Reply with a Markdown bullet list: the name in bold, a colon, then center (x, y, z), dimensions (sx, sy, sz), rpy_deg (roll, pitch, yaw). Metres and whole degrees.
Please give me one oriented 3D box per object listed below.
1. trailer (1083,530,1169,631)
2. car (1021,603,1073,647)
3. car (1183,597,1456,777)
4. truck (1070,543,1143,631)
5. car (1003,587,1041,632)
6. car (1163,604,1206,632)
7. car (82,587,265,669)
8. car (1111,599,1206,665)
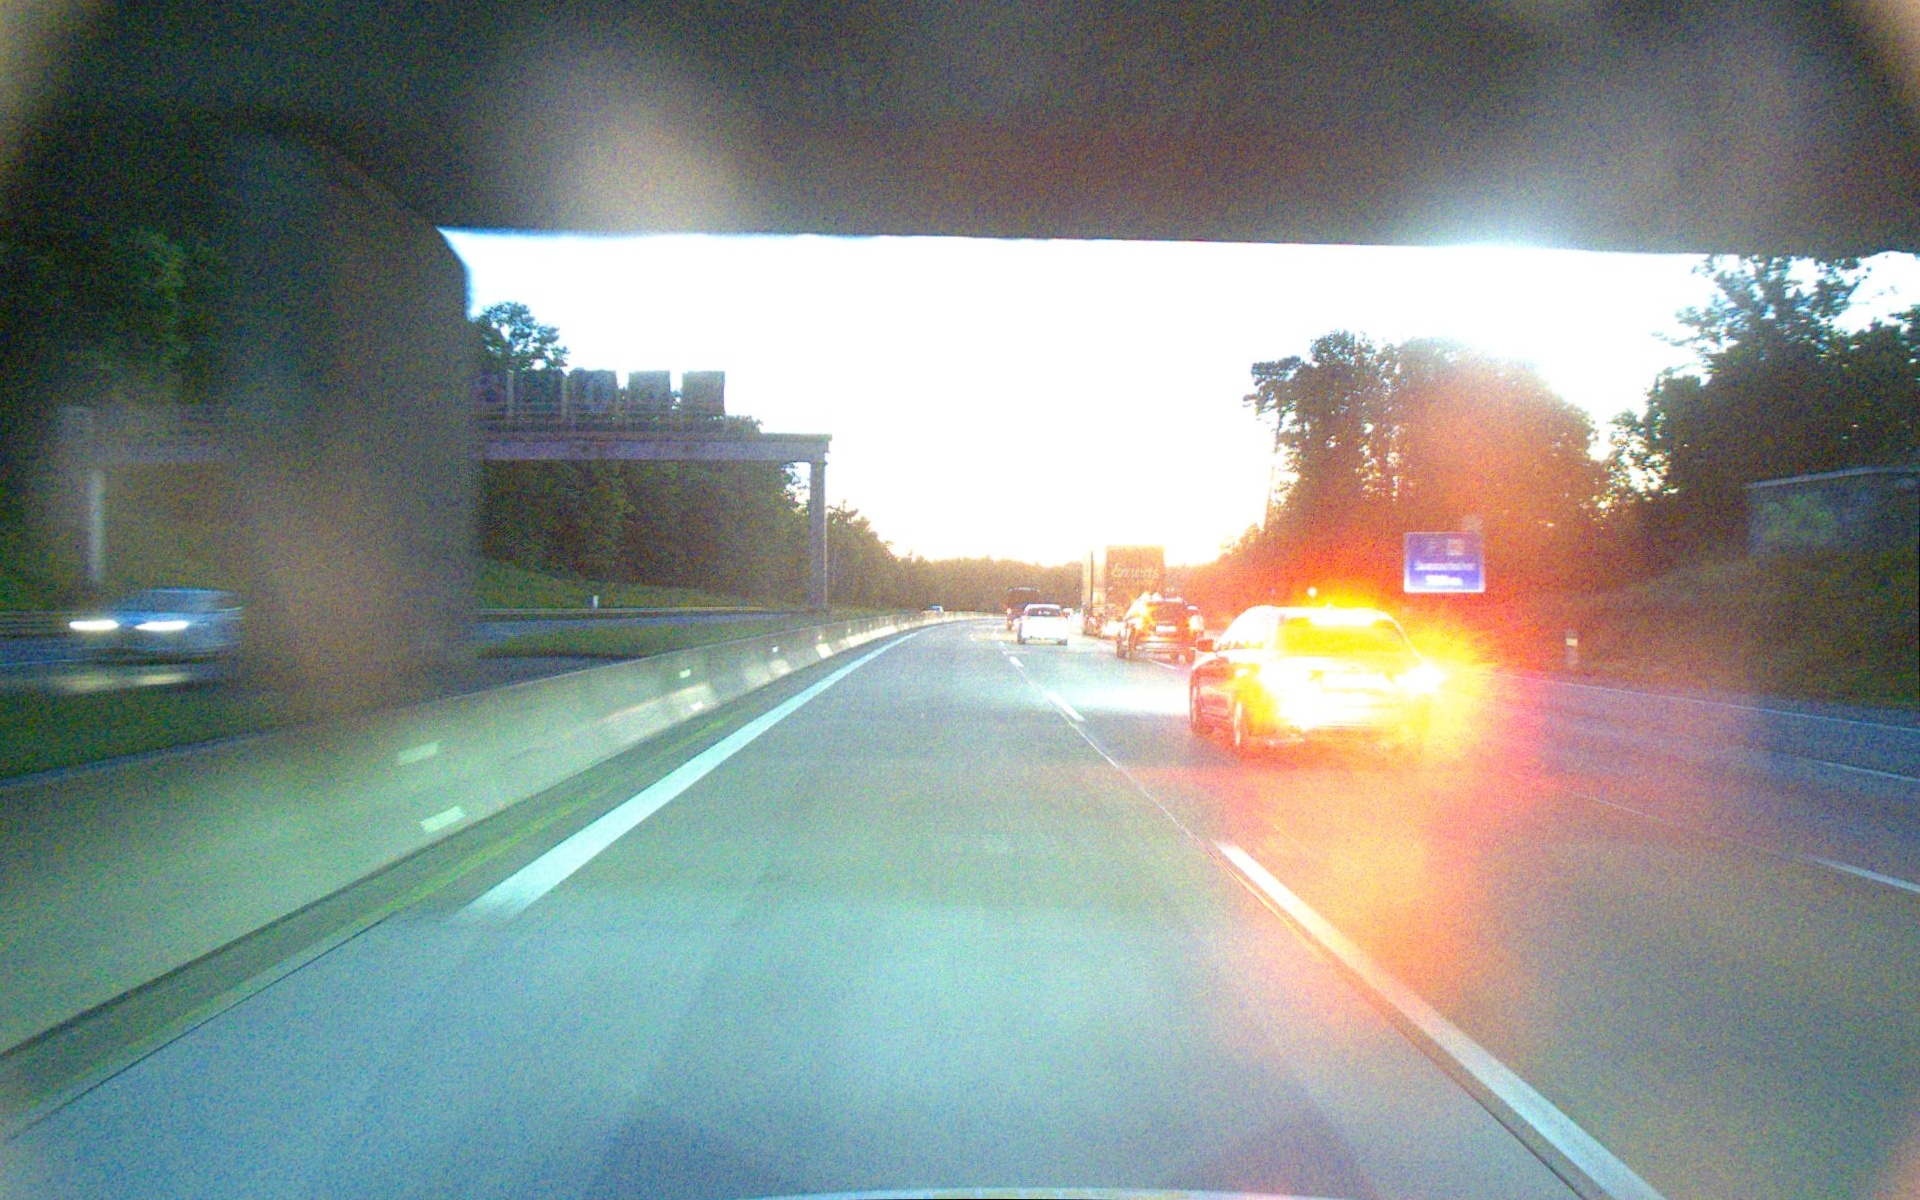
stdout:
- **trailer**: center (7.283, -0.711, 74.023), dimensions (2.847, 4.172, 10.357), rpy_deg (1, -1, 1)
- **car**: center (3.161, 0.899, 60.352), dimensions (1.820, 1.467, 3.722), rpy_deg (1, 1, 2)
- **car**: center (3.648, 0.793, 17.773), dimensions (1.870, 1.564, 5.232), rpy_deg (1, 1, 1)
- **truck**: center (7.352, -0.520, 84.584), dimensions (2.826, 4.172, 10.831), rpy_deg (1, -1, 1)
- **car**: center (3.594, 0.576, 95.531), dimensions (2.120, 2.461, 5.565), rpy_deg (1, -1, 2)
- **car**: center (12.104, 0.960, 89.348), dimensions (1.821, 1.467, 4.111), rpy_deg (1, -1, 1)
- **car**: center (-16.300, 0.539, 34.517), dimensions (1.774, 1.547, 4.429), rpy_deg (1, 1, -1)
- **car**: center (5.303, 0.822, 44.777), dimensions (1.864, 1.672, 5.051), rpy_deg (1, 0, -1)
